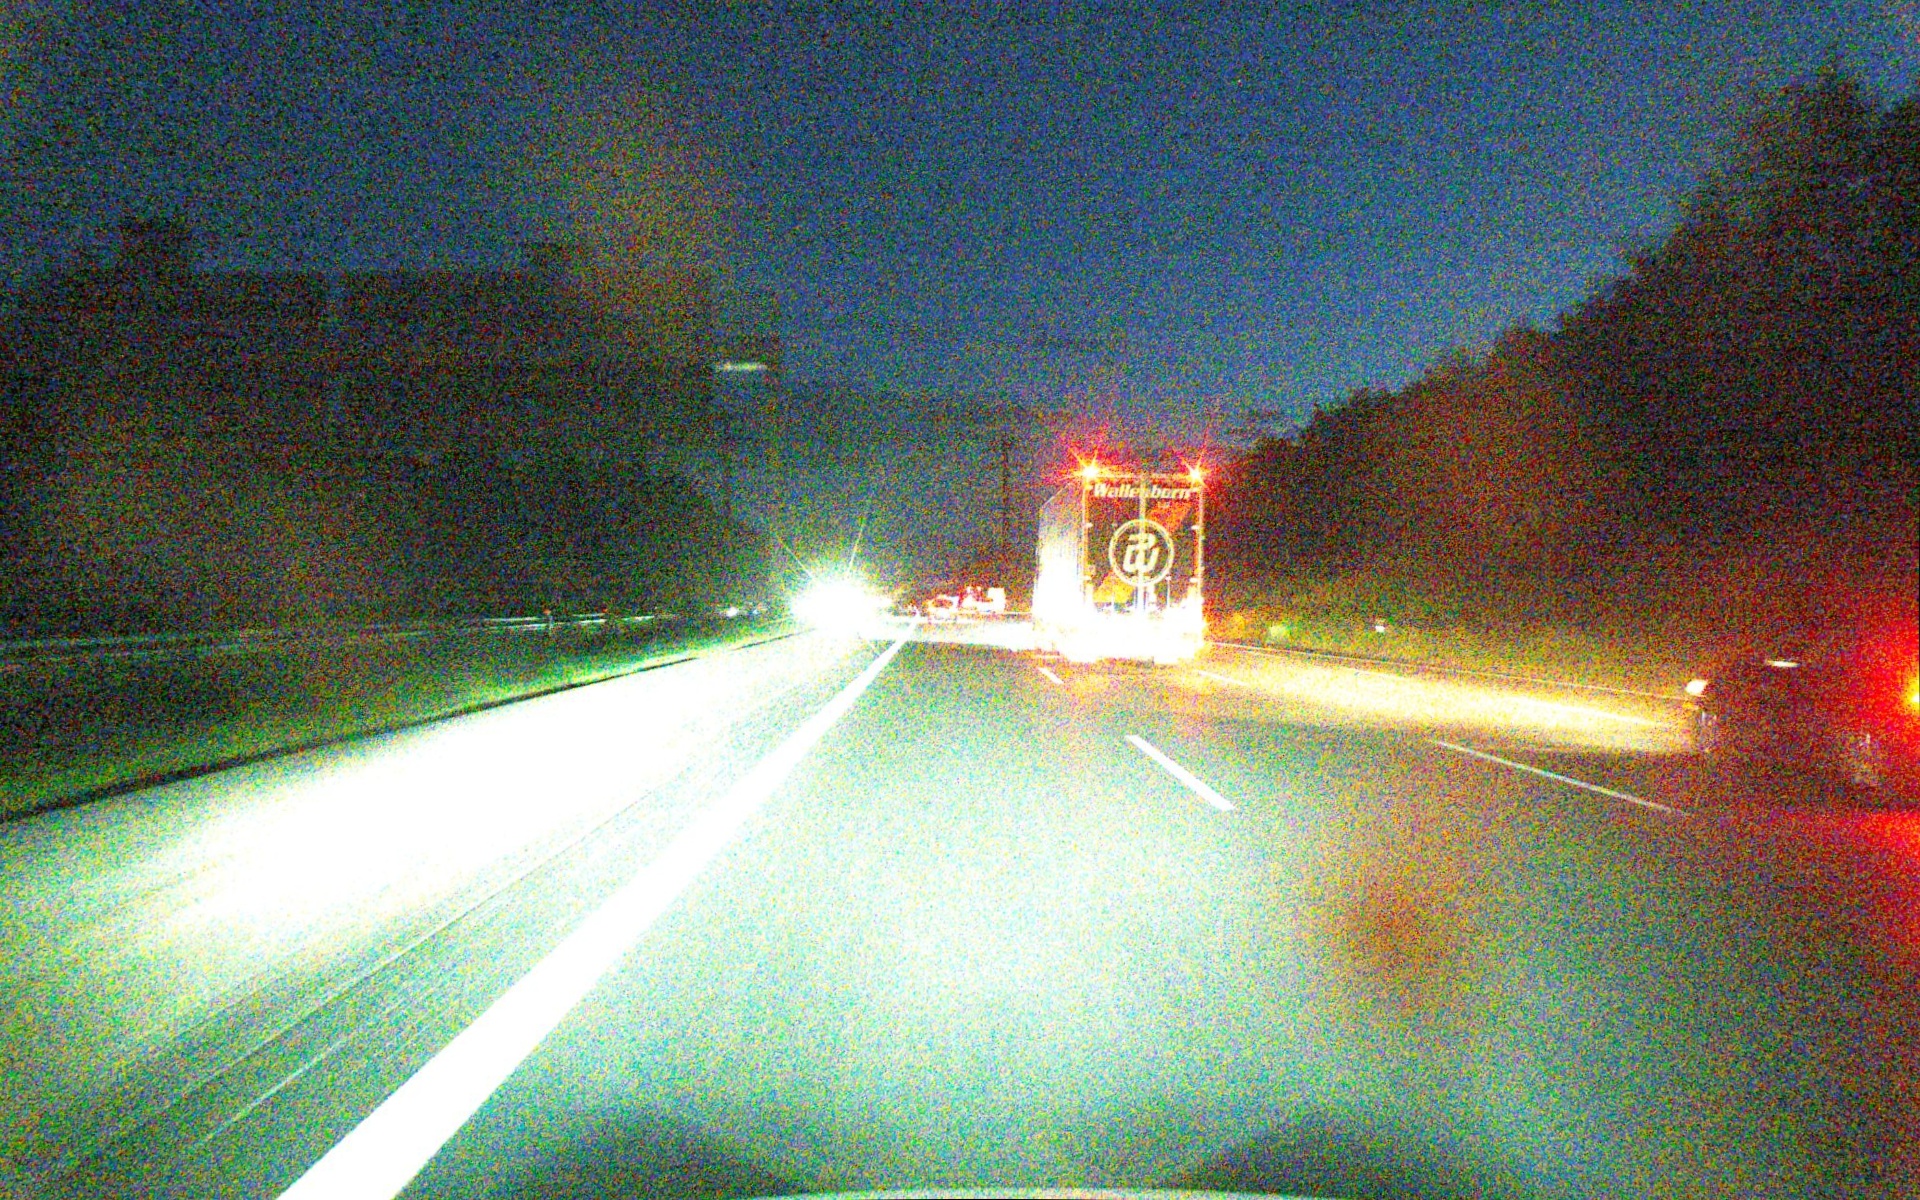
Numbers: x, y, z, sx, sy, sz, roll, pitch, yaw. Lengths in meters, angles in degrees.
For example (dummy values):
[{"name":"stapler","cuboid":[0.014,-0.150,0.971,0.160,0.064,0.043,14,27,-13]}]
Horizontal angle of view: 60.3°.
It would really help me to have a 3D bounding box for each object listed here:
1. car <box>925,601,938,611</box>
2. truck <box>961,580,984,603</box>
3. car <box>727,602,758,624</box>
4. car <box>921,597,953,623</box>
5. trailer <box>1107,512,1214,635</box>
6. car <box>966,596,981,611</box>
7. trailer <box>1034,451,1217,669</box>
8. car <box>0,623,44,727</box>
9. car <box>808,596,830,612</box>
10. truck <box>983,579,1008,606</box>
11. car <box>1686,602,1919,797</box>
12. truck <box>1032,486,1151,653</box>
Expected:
[{"name":"car","cuboid":[-4.349,0.887,252.504,1.784,1.492,4.246,1,0,-2]},{"name":"truck","cuboid":[1.910,-1.299,258.442,2.983,3.383,10.137,1,0,-2]},{"name":"car","cuboid":[-16.248,0.952,123.913,1.715,1.504,4.941,-2,0,-1]},{"name":"car","cuboid":[-1.373,0.574,97.238,1.784,1.492,4.246,1,0,-2]},{"name":"trailer","cuboid":[7.332,-0.913,61.792,2.538,4.143,10.006,1,0,-1]},{"name":"car","cuboid":[1.362,0.315,163.382,1.319,1.411,3.500,1,0,-2]},{"name":"trailer","cuboid":[3.598,-0.799,39.683,2.687,4.280,13.507,1,0,-1]},{"name":"car","cuboid":[-14.736,1.154,22.718,1.784,1.491,4.558,-4,0,-2]},{"name":"car","cuboid":[-13.812,0.372,161.893,1.715,1.504,4.762,-2,0,-1]},{"name":"truck","cuboid":[3.936,-0.812,184.389,2.035,2.738,7.301,1,-1,-4]},{"name":"car","cuboid":[8.238,0.782,14.546,1.784,1.492,4.247,1,0,-1]},{"name":"truck","cuboid":[3.552,-0.799,46.193,2.608,4.280,6.721,1,0,-1]}]
